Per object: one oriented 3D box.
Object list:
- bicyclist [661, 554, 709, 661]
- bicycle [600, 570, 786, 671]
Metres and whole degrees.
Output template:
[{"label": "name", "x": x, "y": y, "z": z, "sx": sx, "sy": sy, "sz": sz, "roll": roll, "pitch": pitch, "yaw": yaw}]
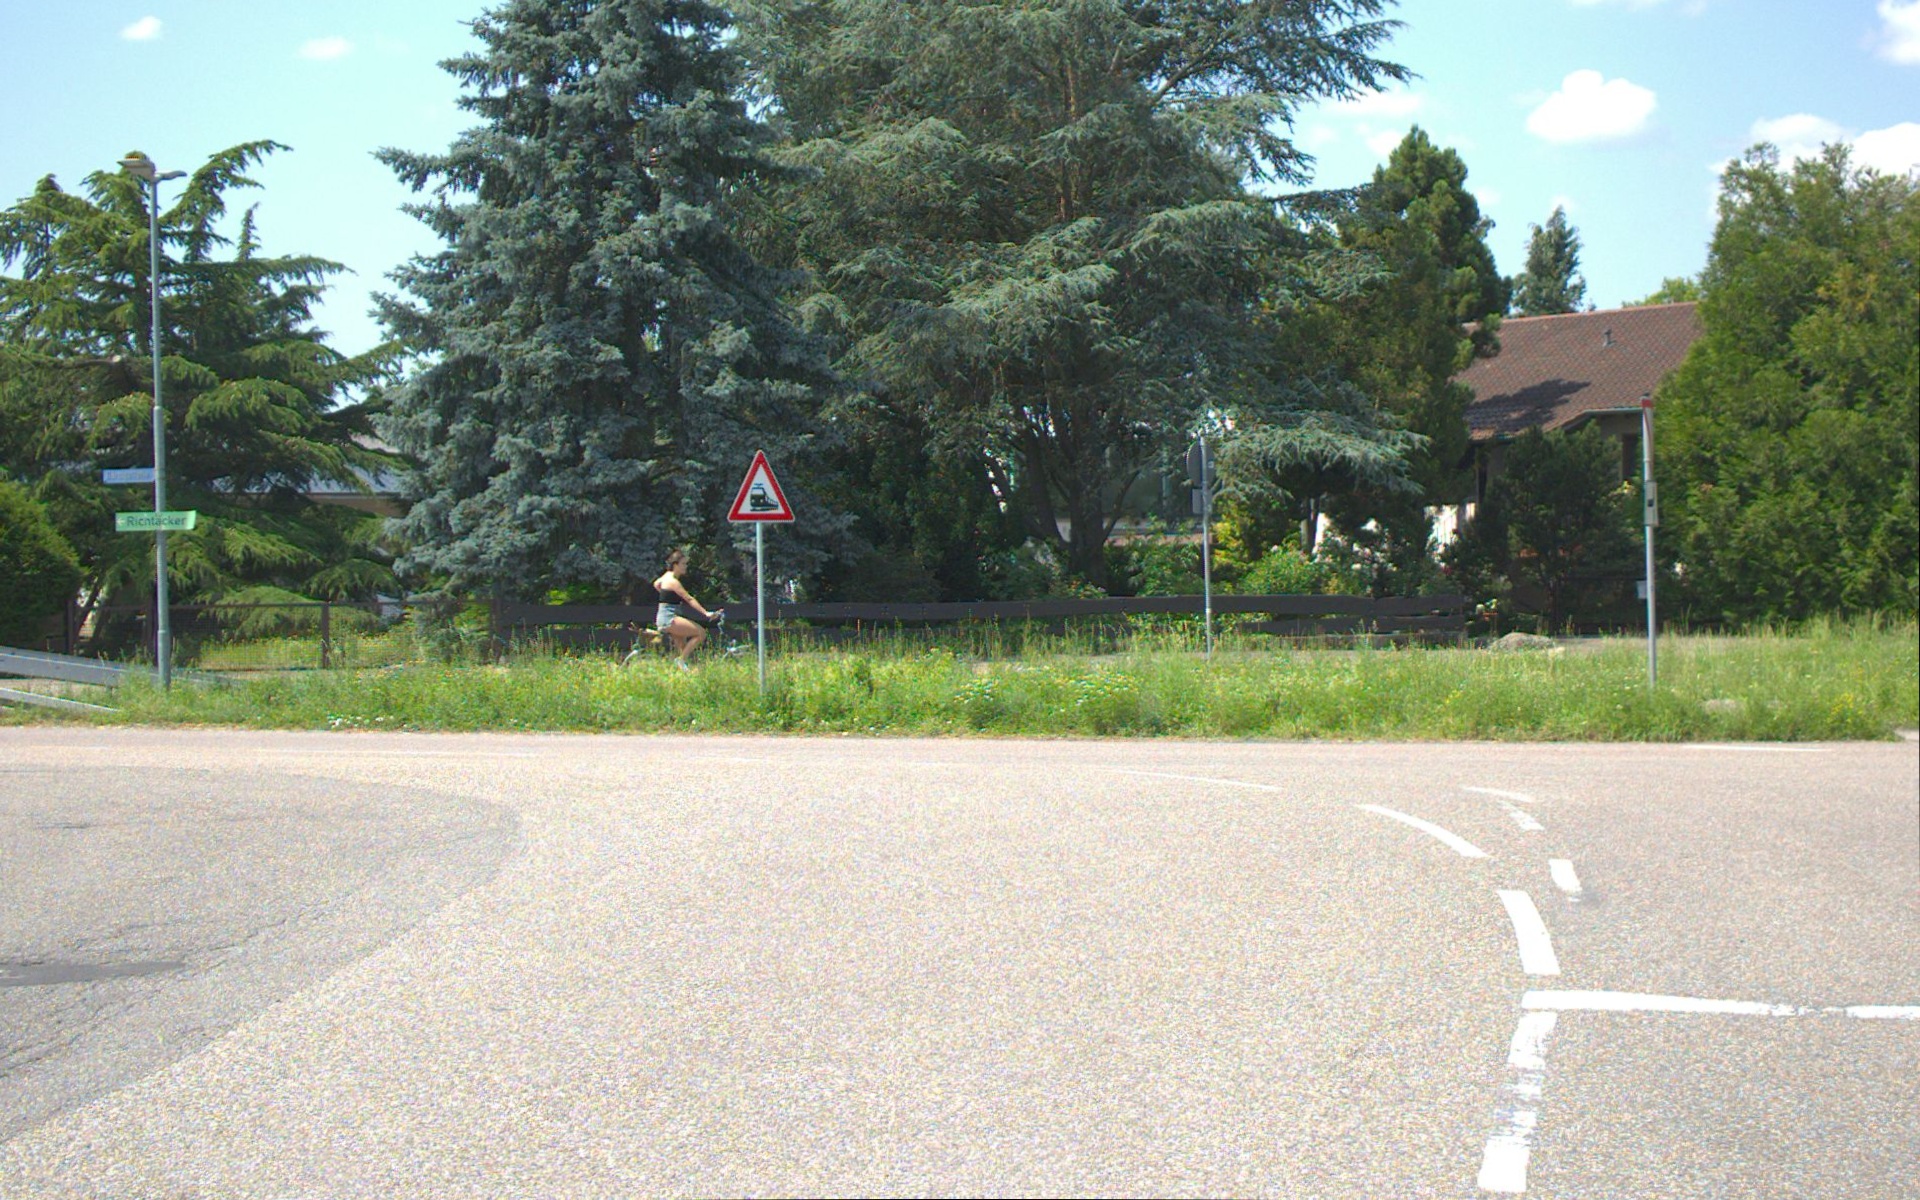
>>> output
[{"label": "bicyclist", "x": -3.261, "y": 0.084, "z": 40.708, "sx": 0.510, "sy": 1.251, "sz": 0.469, "roll": -1, "pitch": 0, "yaw": -10}, {"label": "bicycle", "x": -3.166, "y": 0.235, "z": 40.756, "sx": 2.139, "sy": 1.161, "sz": 0.661, "roll": -1, "pitch": 1, "yaw": -10}]
